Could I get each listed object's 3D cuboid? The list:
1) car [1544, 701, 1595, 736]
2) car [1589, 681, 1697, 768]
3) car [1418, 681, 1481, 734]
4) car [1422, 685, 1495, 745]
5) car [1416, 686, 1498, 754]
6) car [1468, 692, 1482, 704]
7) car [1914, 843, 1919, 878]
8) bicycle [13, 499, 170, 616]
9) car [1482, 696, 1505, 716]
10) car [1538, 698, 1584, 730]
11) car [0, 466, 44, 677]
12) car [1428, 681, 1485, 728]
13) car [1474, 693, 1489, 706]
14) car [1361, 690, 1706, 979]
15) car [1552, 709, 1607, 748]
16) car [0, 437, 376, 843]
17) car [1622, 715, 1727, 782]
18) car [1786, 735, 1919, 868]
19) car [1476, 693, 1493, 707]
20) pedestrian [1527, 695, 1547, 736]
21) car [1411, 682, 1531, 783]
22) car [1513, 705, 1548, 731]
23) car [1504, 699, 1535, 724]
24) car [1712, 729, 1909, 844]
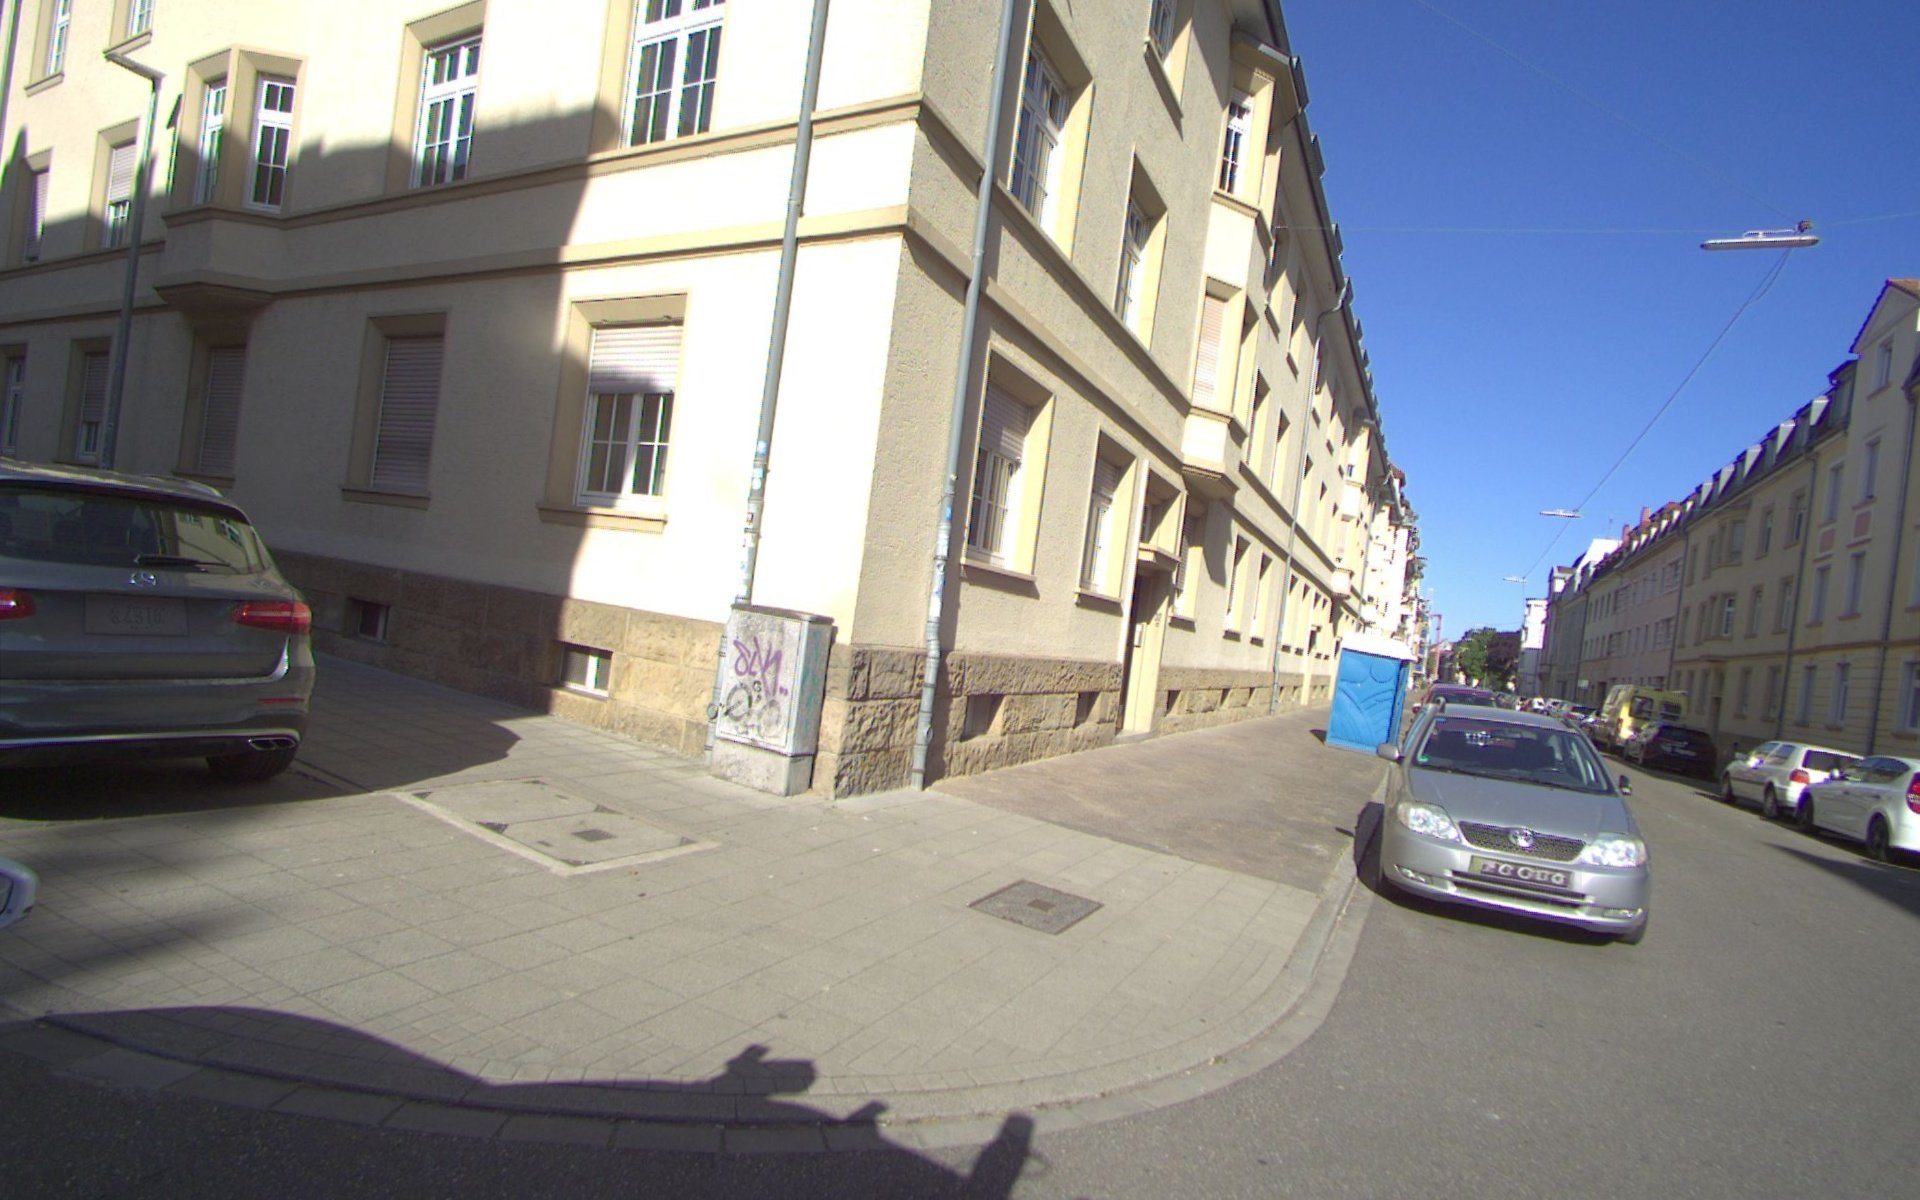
[{"bbox_3d":[32.657,6.320,53.984,1.663,1.450,3.866,10,0,25],"label":"car"},{"bbox_3d":[23.686,4.237,35.102,1.990,2.472,4.926,10,0,25],"label":"car"},{"bbox_3d":[17.098,3.705,35.286,1.722,1.546,4.125,6,-2,25],"label":"car"},{"bbox_3d":[15.142,3.440,30.703,1.722,1.487,4.125,6,-2,25],"label":"car"},{"bbox_3d":[13.140,3.105,26.764,1.722,1.487,4.125,3,-3,25],"label":"car"},{"bbox_3d":[89.621,17.073,175.087,1.663,1.624,3.866,10,0,25],"label":"car"},{"bbox_3d":[11.996,2.631,10.500,1.663,1.618,3.633,10,0,25],"label":"car"},{"bbox_3d":[-11.696,-0.589,13.515,2.548,1.262,0.762,8,0,32],"label":"bicycle"},{"bbox_3d":[55.364,10.985,104.385,1.663,1.624,3.866,10,0,25],"label":"car"},{"bbox_3d":[34.802,6.565,58.370,1.663,1.450,3.866,10,0,25],"label":"car"},{"bbox_3d":[-9.421,-0.423,8.262,3.963,1.628,1.747,6,0,32],"label":"car"},{"bbox_3d":[19.276,4.026,39.197,1.722,1.546,4.125,6,-2,25],"label":"car"},{"bbox_3d":[80.662,15.440,155.674,1.663,1.624,3.866,10,0,25],"label":"car"},{"bbox_3d":[4.532,1.625,8.491,1.796,1.485,4.551,6,-2,25],"label":"car"},{"bbox_3d":[30.421,6.282,49.507,1.663,1.450,3.866,10,0,25],"label":"car"},{"bbox_3d":[-5.613,0.012,5.815,4.697,1.665,1.914,6,0,34],"label":"car"},{"bbox_3d":[21.264,4.367,30.104,1.663,1.450,3.866,10,0,25],"label":"car"},{"bbox_3d":[13.883,2.981,14.699,1.663,1.489,3.866,10,0,25],"label":"car"},{"bbox_3d":[73.309,13.941,140.662,1.663,1.624,3.866,10,0,25],"label":"car"},{"bbox_3d":[25.887,5.157,45.116,0.522,1.737,0.610,8,0,25],"label":"pedestrian"},{"bbox_3d":[10.082,2.525,20.117,1.796,1.572,4.551,6,-2,25],"label":"car"},{"bbox_3d":[41.305,8.533,72.865,1.663,1.450,3.866,10,0,25],"label":"car"},{"bbox_3d":[45.267,9.022,81.473,1.663,1.624,3.866,10,0,25],"label":"car"},{"bbox_3d":[15.814,3.394,18.947,1.663,1.450,3.866,10,0,25],"label":"car"}]
